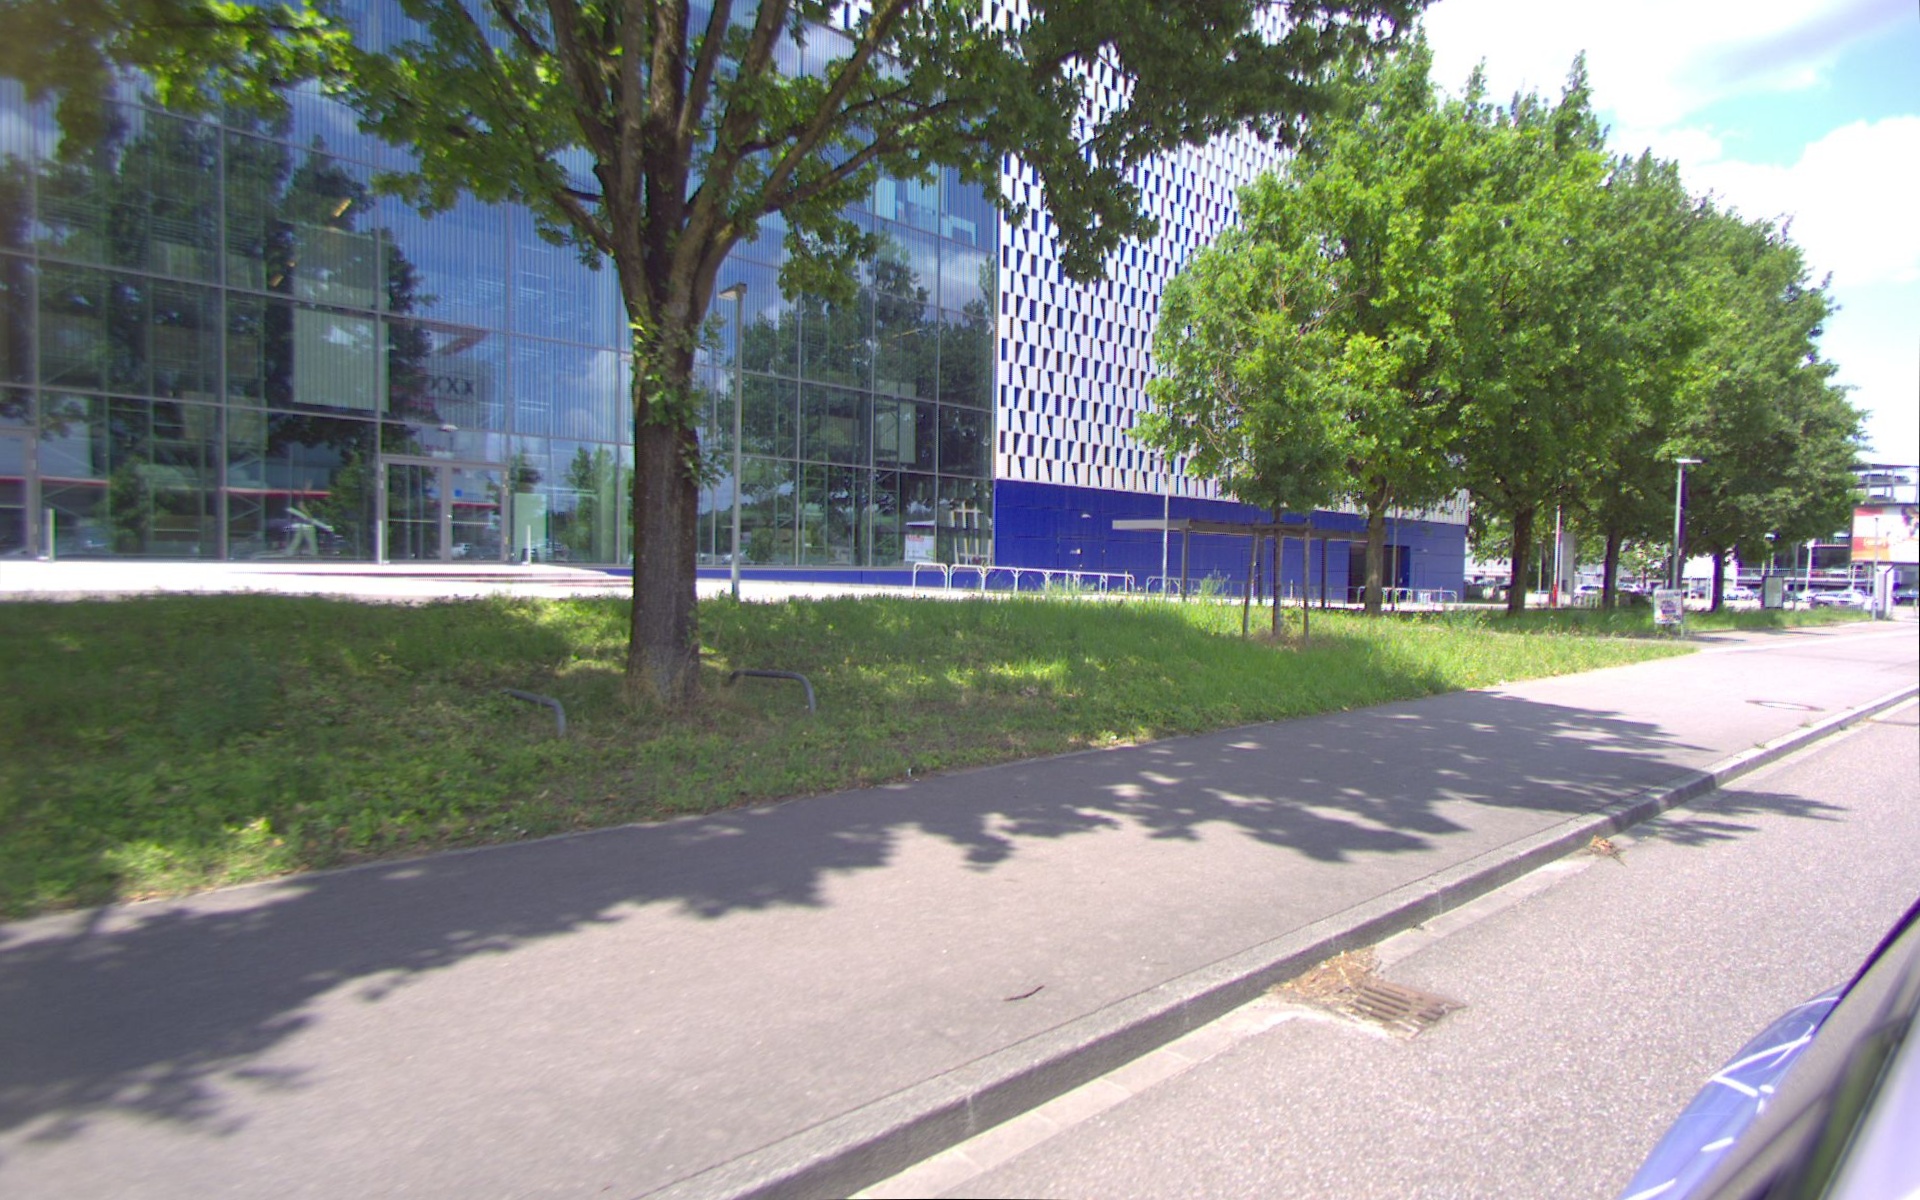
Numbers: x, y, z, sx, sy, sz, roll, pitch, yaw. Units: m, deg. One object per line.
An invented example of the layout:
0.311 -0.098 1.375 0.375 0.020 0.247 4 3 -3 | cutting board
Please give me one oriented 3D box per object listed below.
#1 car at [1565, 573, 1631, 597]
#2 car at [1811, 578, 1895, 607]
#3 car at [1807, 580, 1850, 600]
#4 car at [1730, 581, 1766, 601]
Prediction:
49.607 -1.156 78.760 1.828 1.712 3.991 0 3 -44 | car
58.881 -0.492 66.746 1.828 1.712 3.991 0 3 -44 | car
75.360 -0.891 87.771 3.923 1.593 1.843 1 2 -34 | car
71.441 -0.821 91.706 3.694 1.749 1.861 0 2 -41 | car
